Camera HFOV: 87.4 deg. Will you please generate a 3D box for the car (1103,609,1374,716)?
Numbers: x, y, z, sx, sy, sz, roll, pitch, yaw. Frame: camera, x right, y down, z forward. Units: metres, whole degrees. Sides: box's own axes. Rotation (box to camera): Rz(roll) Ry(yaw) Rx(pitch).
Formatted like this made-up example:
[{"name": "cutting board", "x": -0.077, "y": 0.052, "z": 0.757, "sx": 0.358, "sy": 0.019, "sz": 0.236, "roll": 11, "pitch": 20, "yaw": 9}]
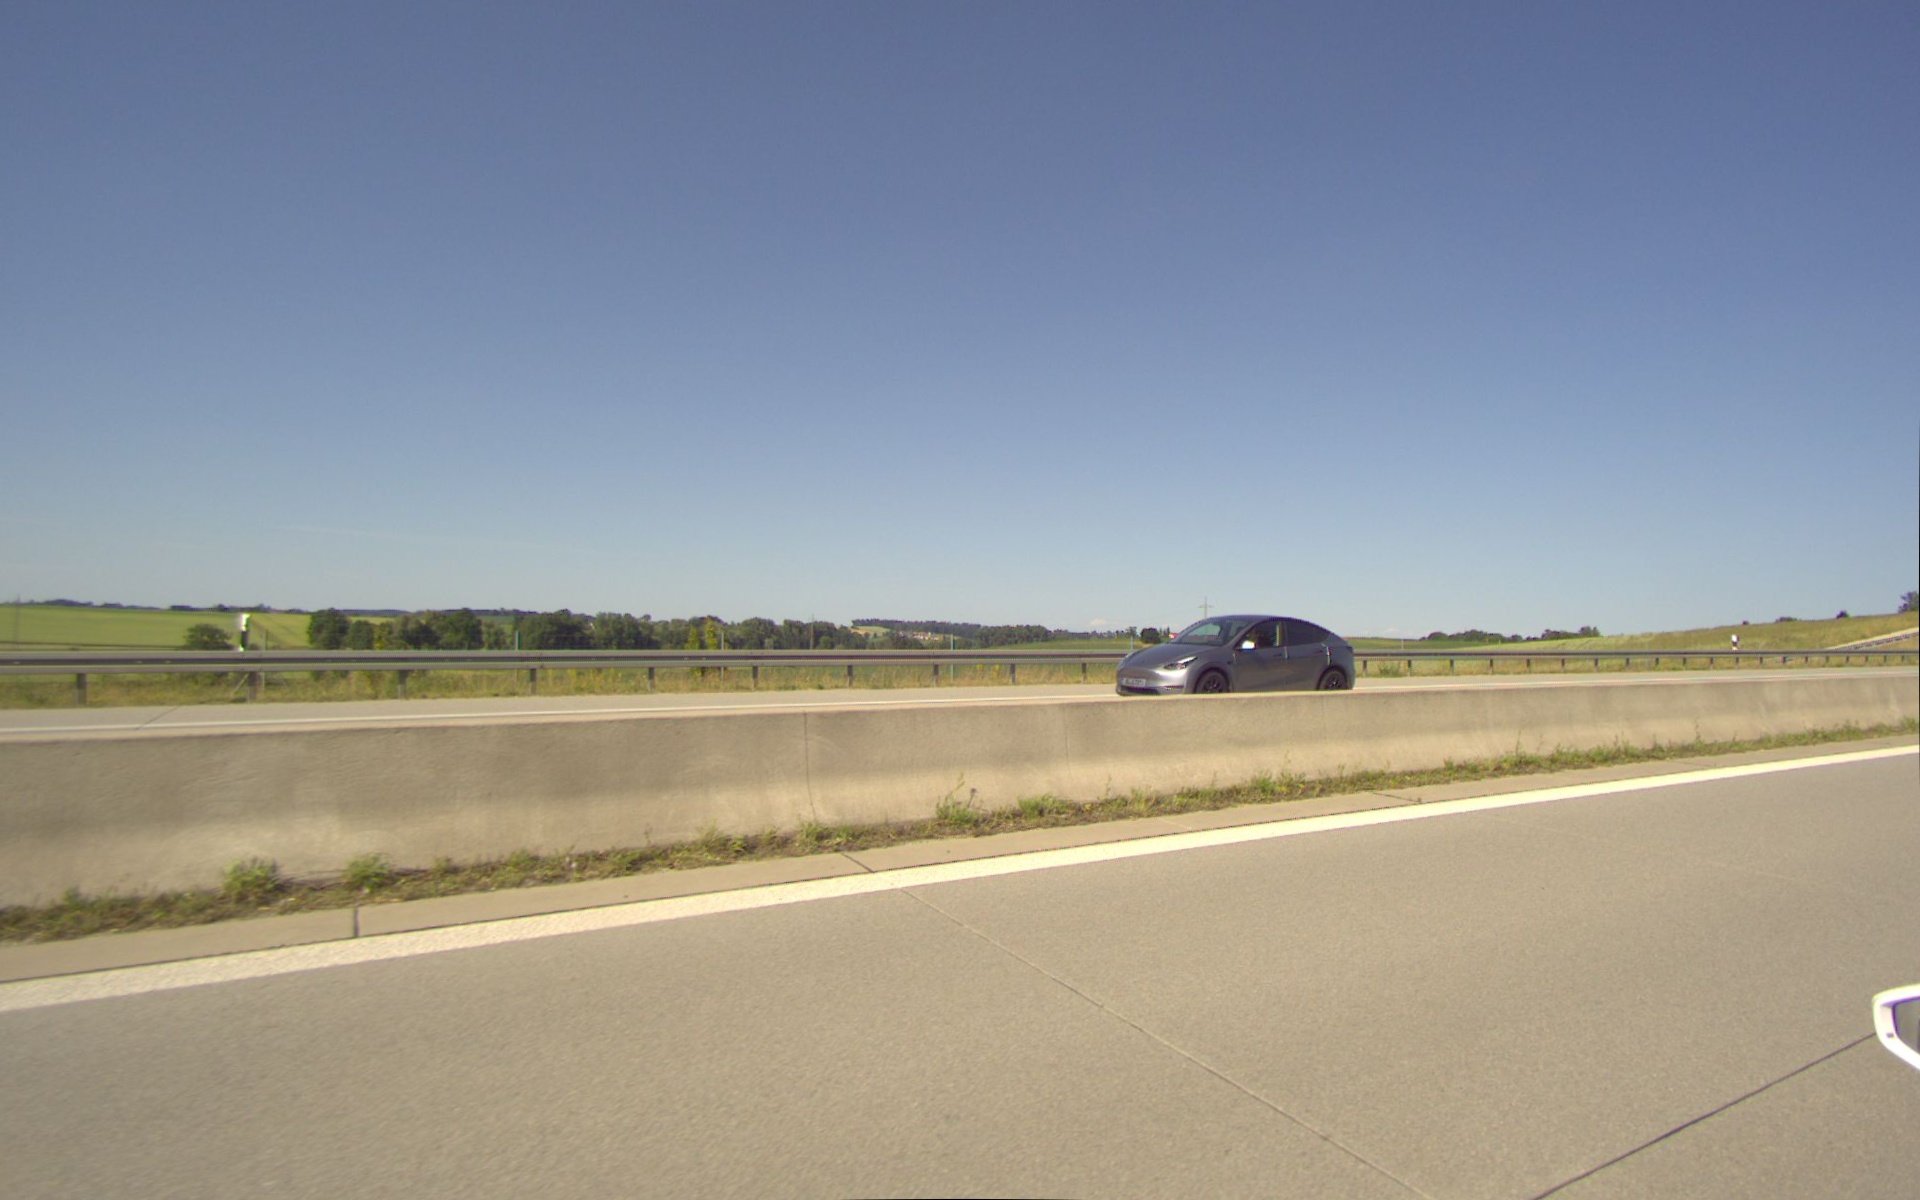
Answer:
[{"name": "car", "x": 4.928, "y": 1.074, "z": 17.621, "sx": 4.620, "sy": 1.636, "sz": 1.805, "roll": 2, "pitch": 0, "yaw": -29}]
